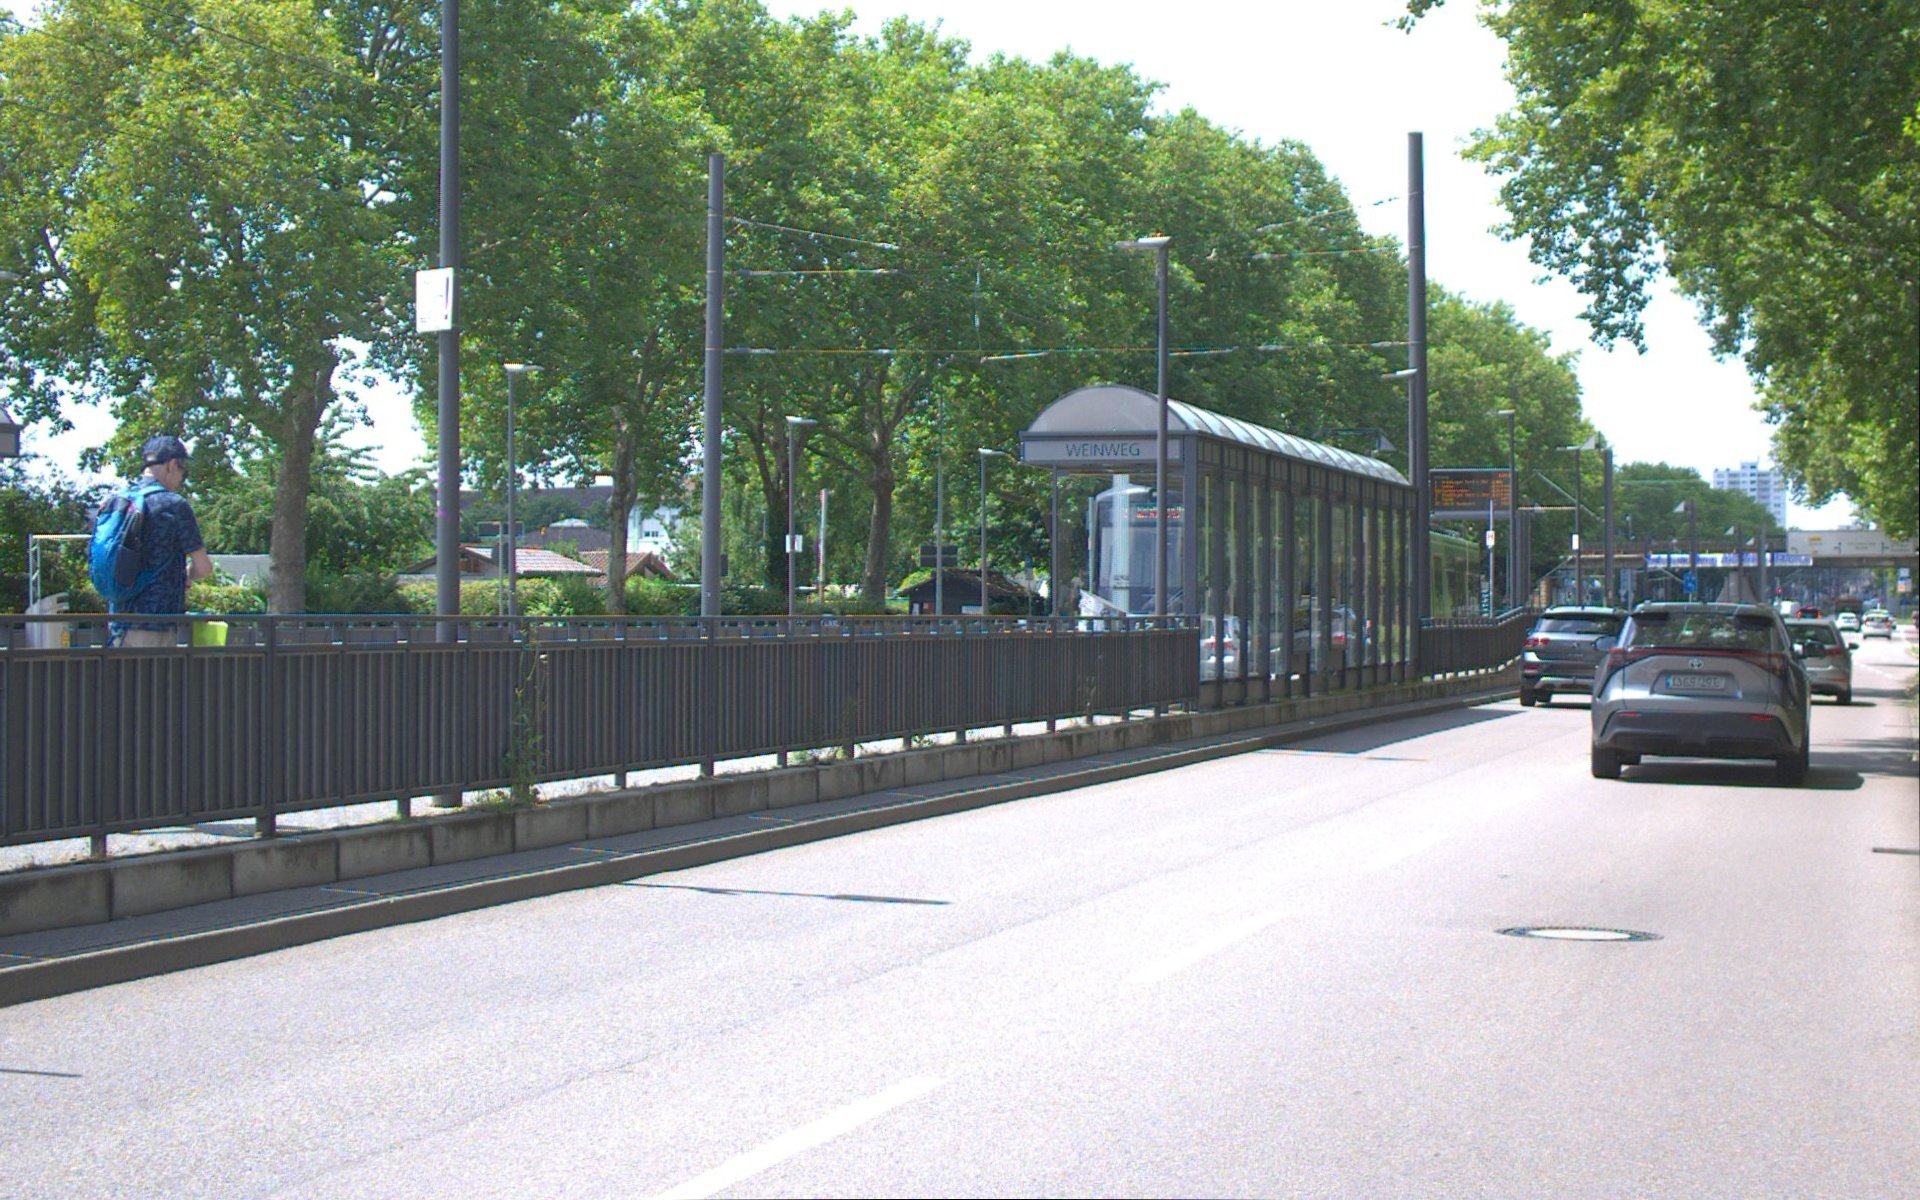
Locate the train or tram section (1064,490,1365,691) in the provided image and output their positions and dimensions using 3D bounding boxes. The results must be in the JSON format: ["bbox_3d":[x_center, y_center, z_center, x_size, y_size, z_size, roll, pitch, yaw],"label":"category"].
[{"bbox_3d":[4.841,-0.129,61.580,3.039,3.175,14.091,0,0,14],"label":"train or tram section"}]

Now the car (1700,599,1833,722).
[{"bbox_3d":[14.098,1.013,59.969,1.995,1.982,4.359,1,1,16],"label":"car"}]

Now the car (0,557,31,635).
[{"bbox_3d":[-22.422,-0.129,74.683,3.918,1.656,1.908,1,1,18],"label":"car"}]

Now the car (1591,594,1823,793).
[{"bbox_3d":[6.972,0.798,31.774,1.899,1.669,4.516,1,0,14],"label":"car"}]

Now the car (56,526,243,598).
[{"bbox_3d":[-19.377,-0.920,82.259,3.918,1.656,1.908,1,1,17],"label":"car"}]

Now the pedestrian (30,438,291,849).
[{"bbox_3d":[-3.532,0.182,15.249,0.734,1.750,0.929,1,0,16],"label":"pedestrian"}]

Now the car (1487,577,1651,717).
[{"bbox_3d":[9.526,0.677,53.504,1.995,1.982,4.360,3,1,16],"label":"car"}]

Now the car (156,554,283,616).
[{"bbox_3d":[-20.719,-0.447,96.341,1.905,1.656,3.925,1,1,14],"label":"car"}]
